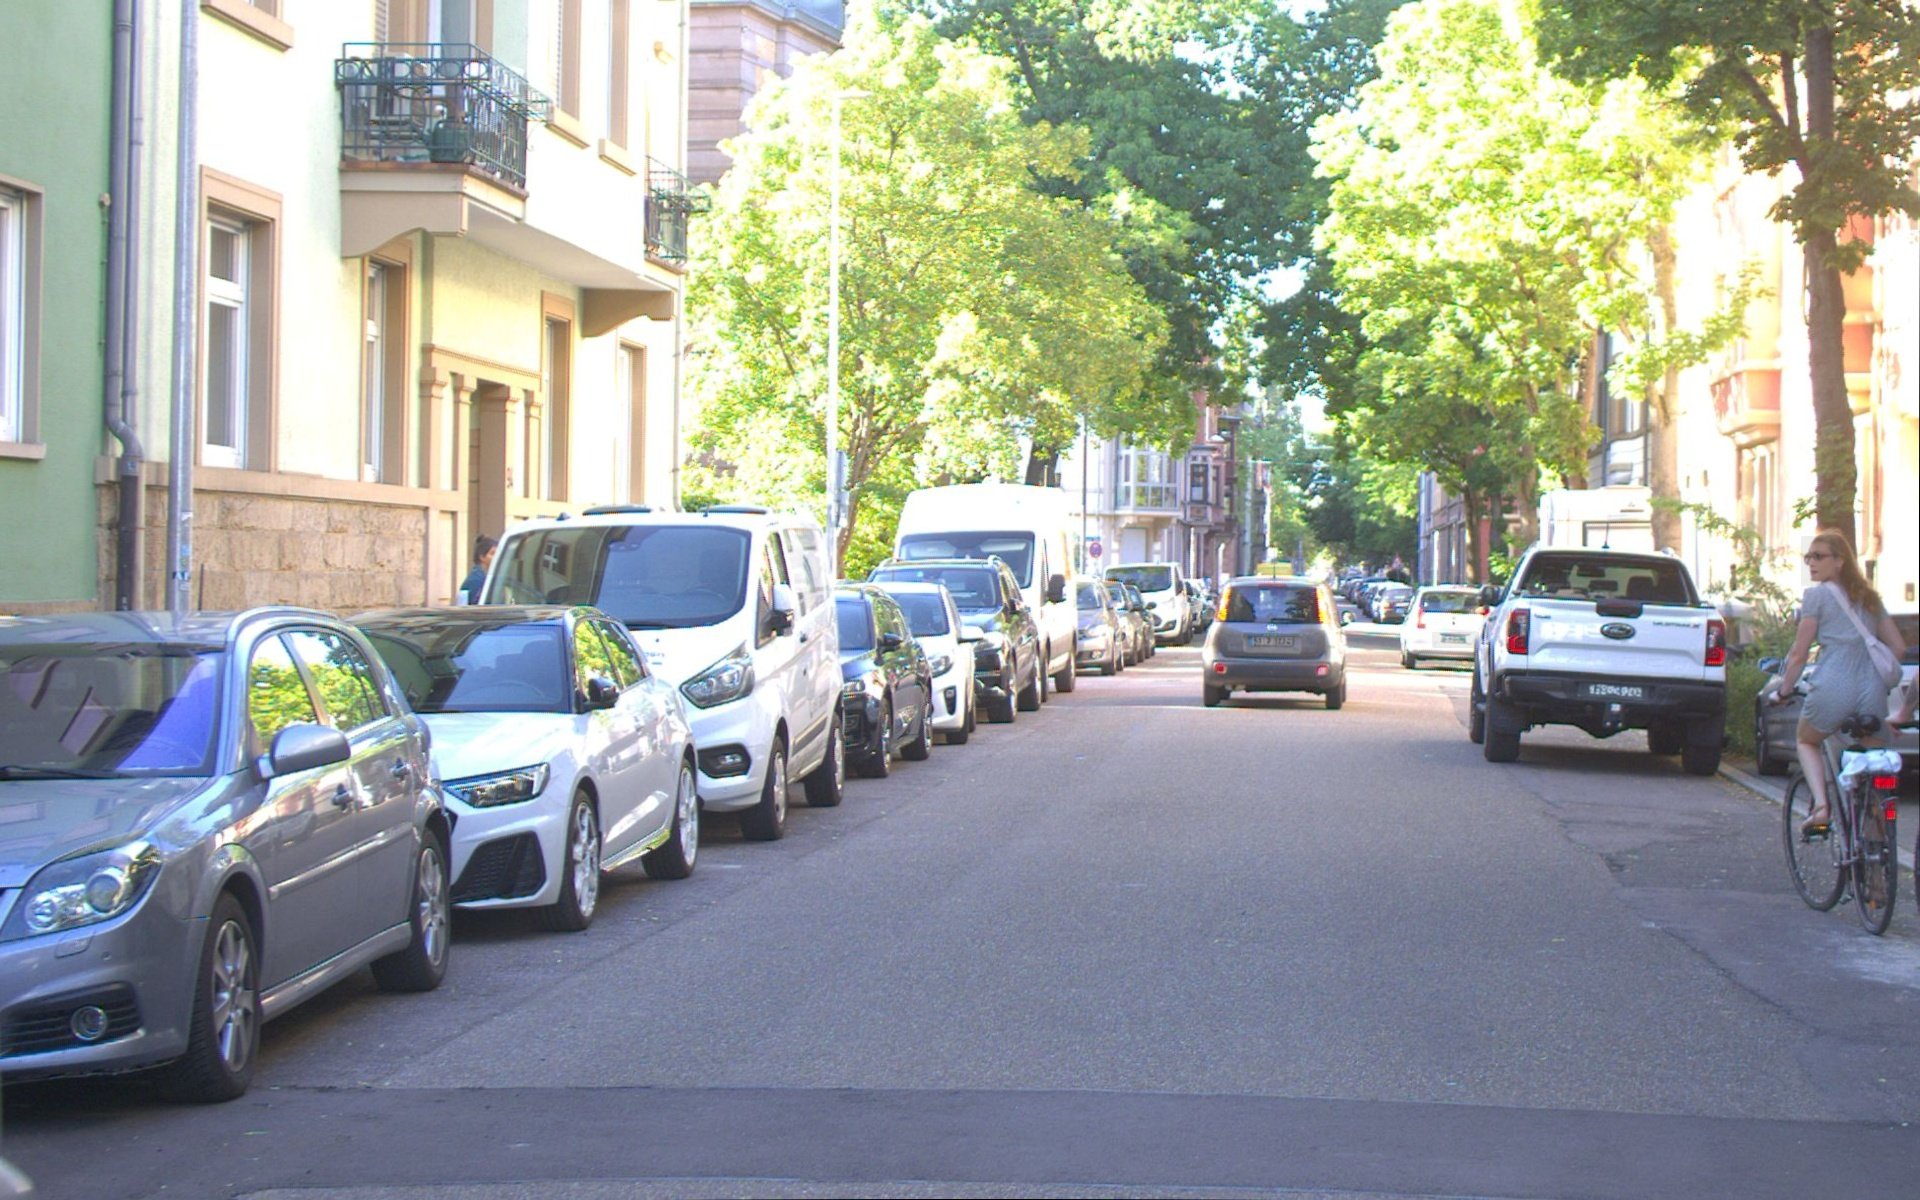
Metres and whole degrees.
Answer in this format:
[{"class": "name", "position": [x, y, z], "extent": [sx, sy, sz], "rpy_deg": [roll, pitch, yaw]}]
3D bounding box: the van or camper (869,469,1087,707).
[{"class": "van or camper", "position": [0.318, -0.162, 43.419], "extent": [2.129, 2.760, 5.850], "rpy_deg": [-1, 0, 6]}]

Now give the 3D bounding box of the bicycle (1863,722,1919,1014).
[{"class": "bicycle", "position": [4.069, 1.052, 13.443], "extent": [0.739, 1.056, 1.857], "rpy_deg": [2, 0, 6]}]

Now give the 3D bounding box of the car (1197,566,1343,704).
[{"class": "car", "position": [3.671, 0.377, 40.374], "extent": [1.633, 1.545, 3.263], "rpy_deg": [0, 1, 6]}]

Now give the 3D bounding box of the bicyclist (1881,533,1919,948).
[{"class": "bicyclist", "position": [4.065, 0.537, 13.335], "extent": [0.755, 1.560, 0.981], "rpy_deg": [2, 1, 7]}]

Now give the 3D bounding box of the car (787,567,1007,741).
[{"class": "car", "position": [-0.537, 0.480, 32.612], "extent": [1.635, 1.546, 4.088], "rpy_deg": [0, 0, 5]}]

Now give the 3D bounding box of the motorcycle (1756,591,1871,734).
[{"class": "motorcycle", "position": [8.872, 0.627, 35.809], "extent": [0.861, 1.411, 2.233], "rpy_deg": [2, 1, 7]}]

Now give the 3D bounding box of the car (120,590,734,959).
[{"class": "car", "position": [-2.335, 0.713, 16.268], "extent": [1.833, 1.457, 4.362], "rpy_deg": [-2, 0, 5]}]

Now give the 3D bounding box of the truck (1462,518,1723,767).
[{"class": "truck", "position": [5.464, 0.310, 30.295], "extent": [1.829, 1.942, 5.539], "rpy_deg": [2, 1, 6]}]

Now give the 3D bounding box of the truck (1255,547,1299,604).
[{"class": "truck", "position": [17.094, -1.335, 185.355], "extent": [2.071, 2.916, 5.066], "rpy_deg": [-3, 0, 7]}]

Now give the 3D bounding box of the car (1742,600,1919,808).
[{"class": "car", "position": [7.140, 0.732, 26.411], "extent": [1.680, 1.417, 4.429], "rpy_deg": [0, 0, 6]}]

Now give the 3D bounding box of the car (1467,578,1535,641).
[{"class": "car", "position": [13.483, 0.225, 85.763], "extent": [1.520, 1.505, 3.542], "rpy_deg": [1, 0, 7]}]

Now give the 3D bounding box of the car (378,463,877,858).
[{"class": "car", "position": [-1.934, 0.328, 21.894], "extent": [2.252, 2.161, 5.243], "rpy_deg": [-2, 0, 4]}]

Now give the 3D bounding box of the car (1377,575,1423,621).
[{"class": "car", "position": [16.635, -0.084, 129.963], "extent": [1.663, 1.663, 3.756], "rpy_deg": [2, 1, 7]}]

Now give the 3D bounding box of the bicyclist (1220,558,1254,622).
[{"class": "bicyclist", "position": [6.808, -0.244, 84.477], "extent": [0.652, 1.503, 0.624], "rpy_deg": [5, 1, 7]}]

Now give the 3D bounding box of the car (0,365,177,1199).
[{"class": "car", "position": [-3.088, 0.581, 4.164], "extent": [1.773, 1.837, 4.409], "rpy_deg": [-1, 0, 26]}]

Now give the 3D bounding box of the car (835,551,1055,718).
[{"class": "car", "position": [-0.087, 0.332, 37.663], "extent": [1.876, 1.680, 4.968], "rpy_deg": [-1, 0, 6]}]

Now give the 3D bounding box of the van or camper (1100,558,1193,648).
[{"class": "van or camper", "position": [4.442, 0.057, 81.069], "extent": [1.922, 1.973, 5.460], "rpy_deg": [-2, 0, 5]}]

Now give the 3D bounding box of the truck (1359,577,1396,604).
[{"class": "truck", "position": [23.431, -0.546, 192.983], "extent": [1.994, 1.452, 3.999], "rpy_deg": [1, 1, 6]}]

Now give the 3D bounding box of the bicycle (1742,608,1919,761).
[{"class": "bicycle", "position": [7.832, 0.737, 30.286], "extent": [1.759, 1.301, 0.586], "rpy_deg": [1, 0, 5]}]

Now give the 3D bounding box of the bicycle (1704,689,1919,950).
[{"class": "bicycle", "position": [4.048, 0.992, 16.013], "extent": [0.706, 1.042, 1.858], "rpy_deg": [4, 0, 1]}]

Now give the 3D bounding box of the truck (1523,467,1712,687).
[{"class": "truck", "position": [9.497, -0.344, 50.120], "extent": [2.074, 2.958, 6.108], "rpy_deg": [-2, 0, 5]}]

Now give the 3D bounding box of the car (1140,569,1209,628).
[{"class": "car", "position": [6.044, -0.045, 96.808], "extent": [1.825, 1.549, 4.133], "rpy_deg": [-3, 0, 4]}]

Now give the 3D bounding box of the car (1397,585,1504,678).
[{"class": "car", "position": [8.781, 0.544, 61.777], "extent": [1.679, 1.539, 3.799], "rpy_deg": [2, 1, 5]}]

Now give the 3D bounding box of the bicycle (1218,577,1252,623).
[{"class": "bicycle", "position": [6.772, -0.011, 84.479], "extent": [0.665, 1.073, 1.685], "rpy_deg": [5, 1, 7]}]

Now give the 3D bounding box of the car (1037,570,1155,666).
[{"class": "car", "position": [2.425, 0.285, 60.339], "extent": [1.676, 1.567, 4.150], "rpy_deg": [-2, 0, 7]}]

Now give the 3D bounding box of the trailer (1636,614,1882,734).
[{"class": "trailer", "position": [7.877, 0.724, 33.968], "extent": [2.080, 1.108, 1.116], "rpy_deg": [1, 1, -7]}]

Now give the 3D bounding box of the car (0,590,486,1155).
[{"class": "car", "position": [-2.866, 0.726, 11.272], "extent": [1.720, 1.457, 4.506], "rpy_deg": [-2, 0, 3]}]

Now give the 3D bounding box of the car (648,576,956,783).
[{"class": "car", "position": [-1.179, 0.573, 27.900], "extent": [1.767, 1.516, 4.824], "rpy_deg": [0, 1, 6]}]

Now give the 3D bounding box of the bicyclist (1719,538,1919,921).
[{"class": "bicyclist", "position": [4.052, 0.578, 15.952], "extent": [0.714, 1.683, 0.981], "rpy_deg": [4, 1, -2]}]

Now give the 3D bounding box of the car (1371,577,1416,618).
[{"class": "car", "position": [16.962, -0.108, 134.449], "extent": [1.663, 1.500, 3.756], "rpy_deg": [2, 1, 7]}]

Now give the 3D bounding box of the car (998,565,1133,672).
[{"class": "car", "position": [1.709, 0.261, 54.177], "extent": [1.780, 1.585, 4.468], "rpy_deg": [-1, 0, 6]}]

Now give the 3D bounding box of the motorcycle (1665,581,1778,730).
[{"class": "motorcycle", "position": [7.933, 0.555, 35.892], "extent": [0.930, 1.481, 2.137], "rpy_deg": [1, 1, 7]}]
